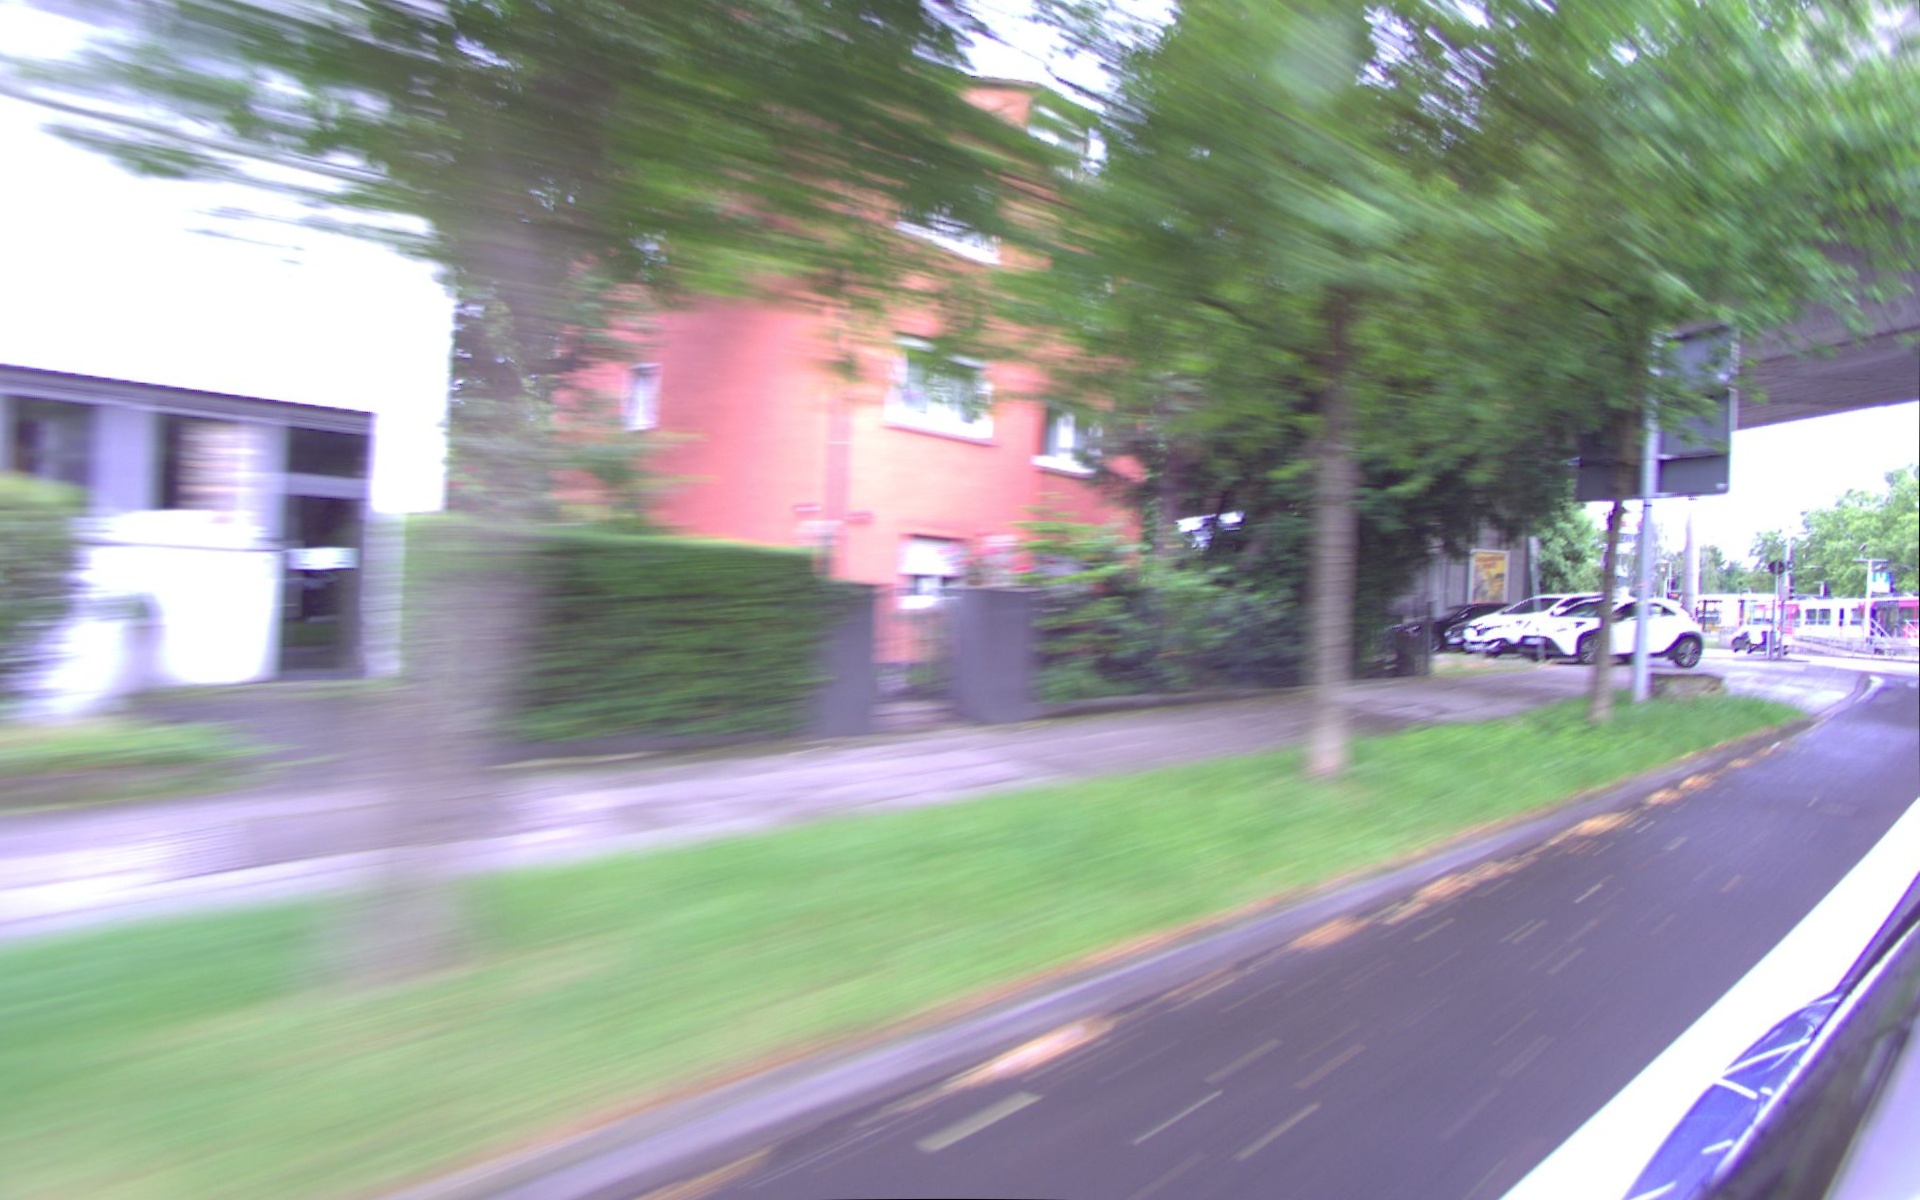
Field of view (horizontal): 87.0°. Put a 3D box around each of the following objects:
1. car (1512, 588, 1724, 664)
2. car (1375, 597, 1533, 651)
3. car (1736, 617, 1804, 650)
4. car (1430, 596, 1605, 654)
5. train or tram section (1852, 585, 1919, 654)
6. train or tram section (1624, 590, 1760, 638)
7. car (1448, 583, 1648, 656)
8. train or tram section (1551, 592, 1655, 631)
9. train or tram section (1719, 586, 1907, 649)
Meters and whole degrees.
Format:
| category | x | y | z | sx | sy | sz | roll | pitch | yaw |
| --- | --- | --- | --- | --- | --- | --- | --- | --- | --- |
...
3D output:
| category | x | y | z | sx | sy | sz | roll | pitch | yaw |
| --- | --- | --- | --- | --- | --- | --- | --- | --- | --- |
| car | 14.578 | 0.564 | 22.504 | 3.658 | 1.541 | 1.806 | 2 | 0 | -10 |
| car | 15.064 | 0.708 | 30.968 | 3.918 | 1.592 | 1.908 | 0 | 0 | -7 |
| car | 42.427 | 1.714 | 53.093 | 1.762 | 1.520 | 3.968 | 1 | 1 | 23 |
| car | 15.418 | 0.677 | 28.080 | 3.966 | 1.458 | 1.790 | 2 | -1 | -10 |
| train or tram section | 56.031 | 1.127 | 55.831 | 2.839 | 4.011 | 19.214 | 0 | 0 | 18 |
| train or tram section | 66.560 | 1.149 | 92.923 | 2.834 | 4.004 | 19.252 | 0 | 0 | 13 |
| car | 14.638 | 0.462 | 25.290 | 3.940 | 1.651 | 1.970 | 2 | 0 | -10 |
| train or tram section | 70.537 | 1.157 | 111.808 | 2.832 | 4.023 | 19.266 | 0 | 0 | 11 |
| train or tram section | 61.748 | 1.139 | 74.302 | 2.837 | 4.021 | 19.231 | 0 | 0 | 16 |
